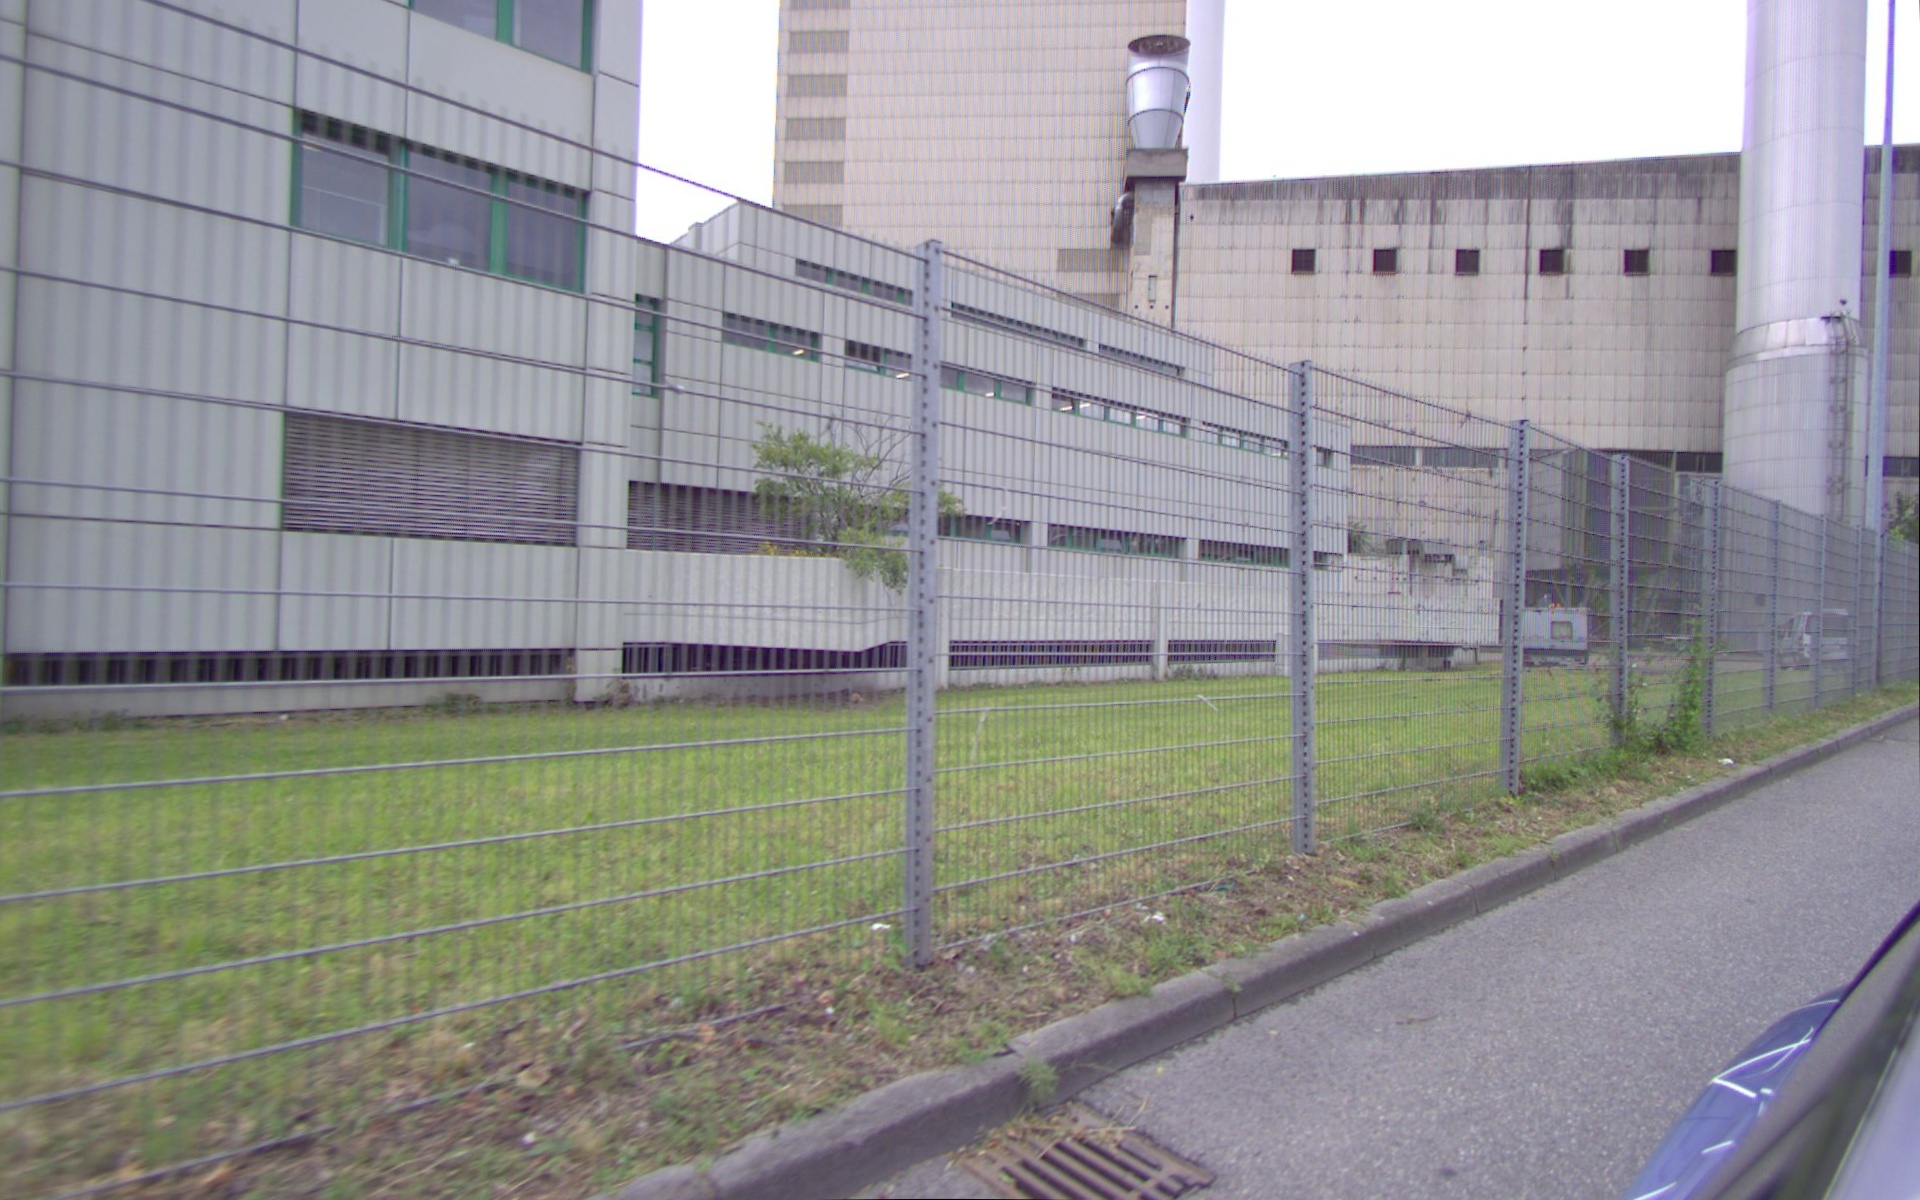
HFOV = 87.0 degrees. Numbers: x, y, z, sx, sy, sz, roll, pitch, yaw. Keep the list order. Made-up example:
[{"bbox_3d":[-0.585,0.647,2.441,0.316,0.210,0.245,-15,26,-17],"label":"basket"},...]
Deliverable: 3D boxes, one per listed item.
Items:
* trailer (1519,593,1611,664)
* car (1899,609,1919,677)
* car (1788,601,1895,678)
[{"bbox_3d":[24.309,1.111,40.528,2.648,2.576,6.348,1,-1,36],"label":"trailer"},{"bbox_3d":[38.178,1.696,38.803,2.222,2.581,5.129,1,-3,32],"label":"car"},{"bbox_3d":[34.865,1.595,40.212,2.410,2.798,5.388,1,-3,33],"label":"car"}]
